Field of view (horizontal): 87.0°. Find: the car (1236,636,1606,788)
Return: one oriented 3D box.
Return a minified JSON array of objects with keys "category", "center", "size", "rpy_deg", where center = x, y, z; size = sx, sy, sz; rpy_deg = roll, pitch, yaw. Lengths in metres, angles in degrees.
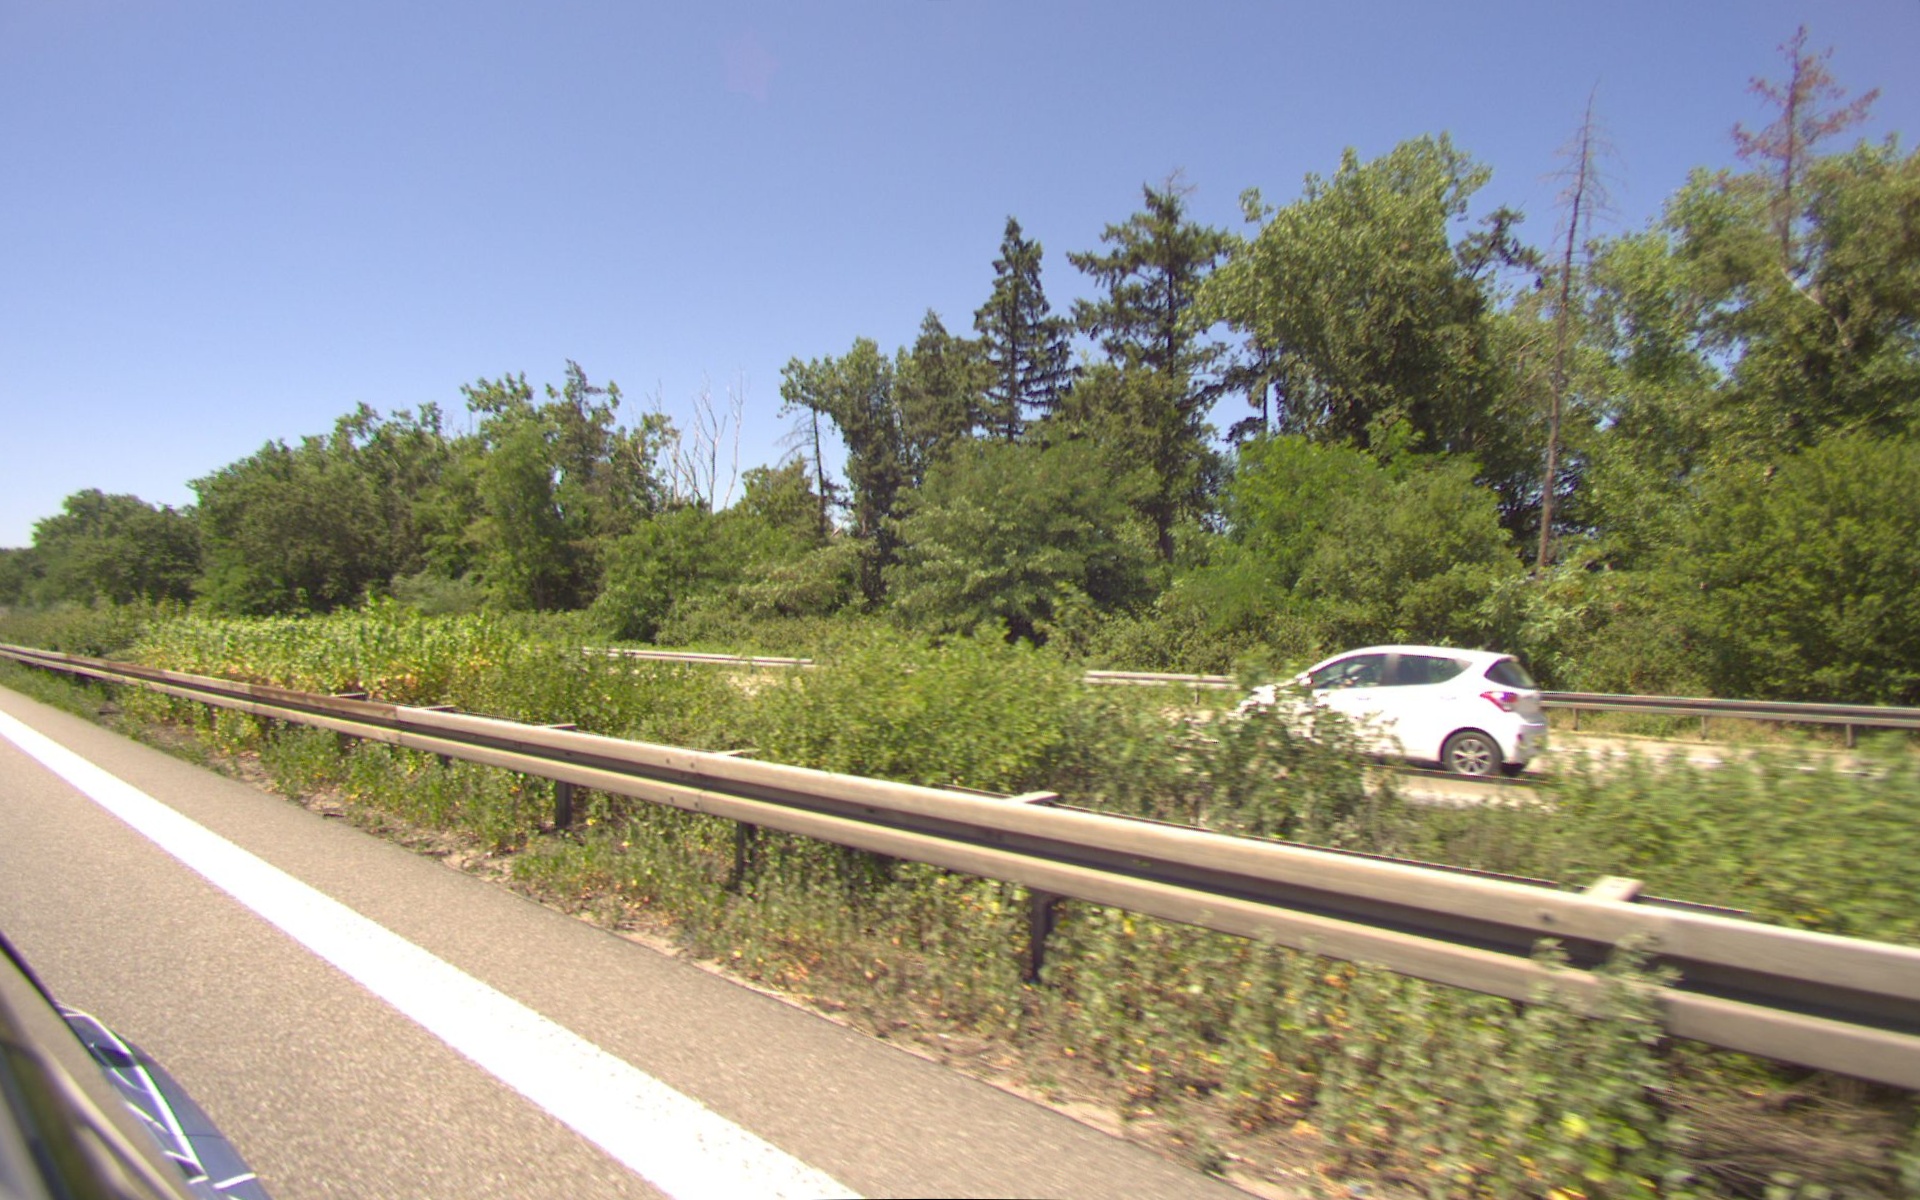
[{"category":"car","center":[5.428,1.238,12.152],"size":[3.742,1.494,1.622],"rpy_deg":[-1,-5,41]}]
